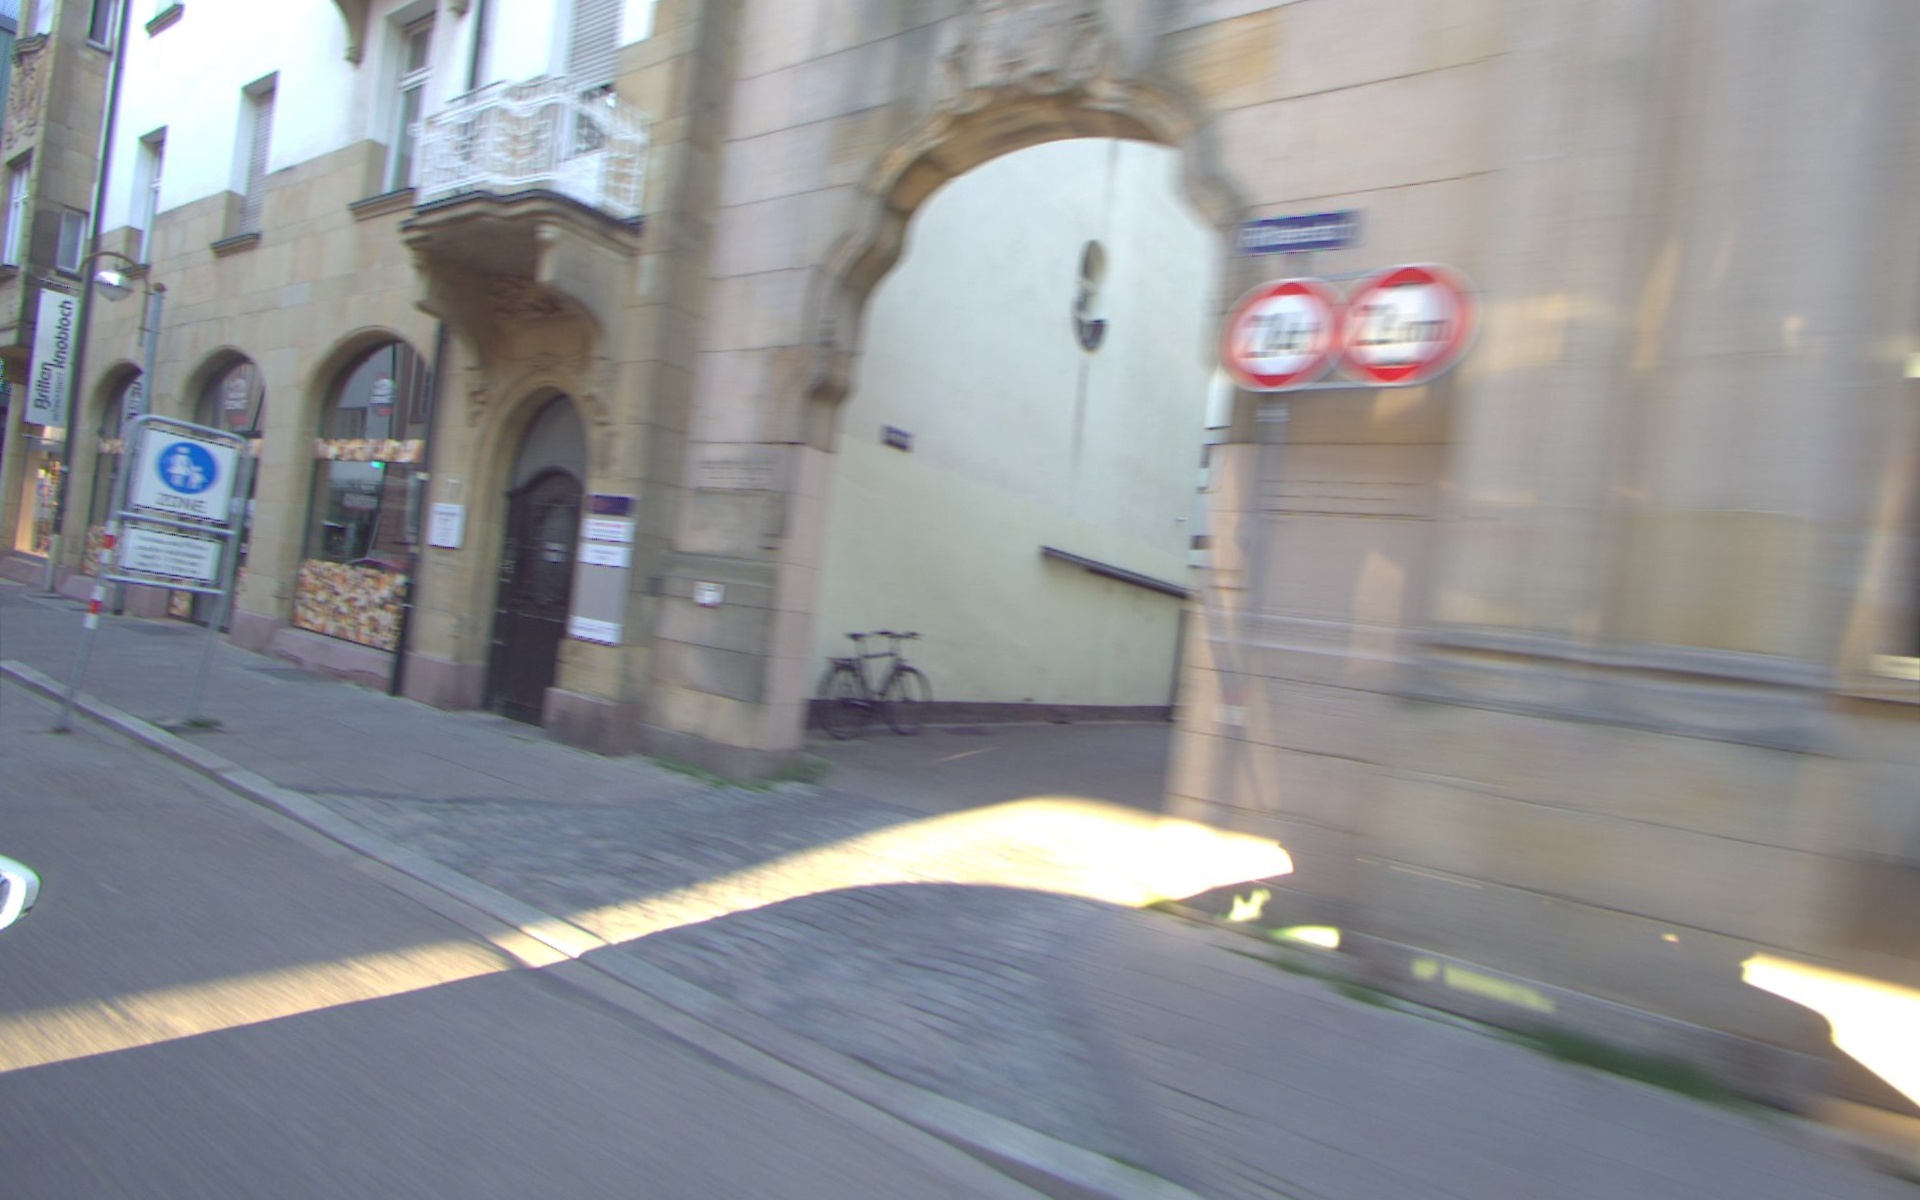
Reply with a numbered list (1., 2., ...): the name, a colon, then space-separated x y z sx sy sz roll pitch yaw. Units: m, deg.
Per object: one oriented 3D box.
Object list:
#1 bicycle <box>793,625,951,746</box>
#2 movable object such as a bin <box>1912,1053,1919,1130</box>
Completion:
1. bicycle: -0.840 0.882 10.163 0.436 1.079 1.813 7 -1 34
2. movable object such as a bin: 3.839 1.238 2.966 1.221 1.409 0.991 7 0 34
